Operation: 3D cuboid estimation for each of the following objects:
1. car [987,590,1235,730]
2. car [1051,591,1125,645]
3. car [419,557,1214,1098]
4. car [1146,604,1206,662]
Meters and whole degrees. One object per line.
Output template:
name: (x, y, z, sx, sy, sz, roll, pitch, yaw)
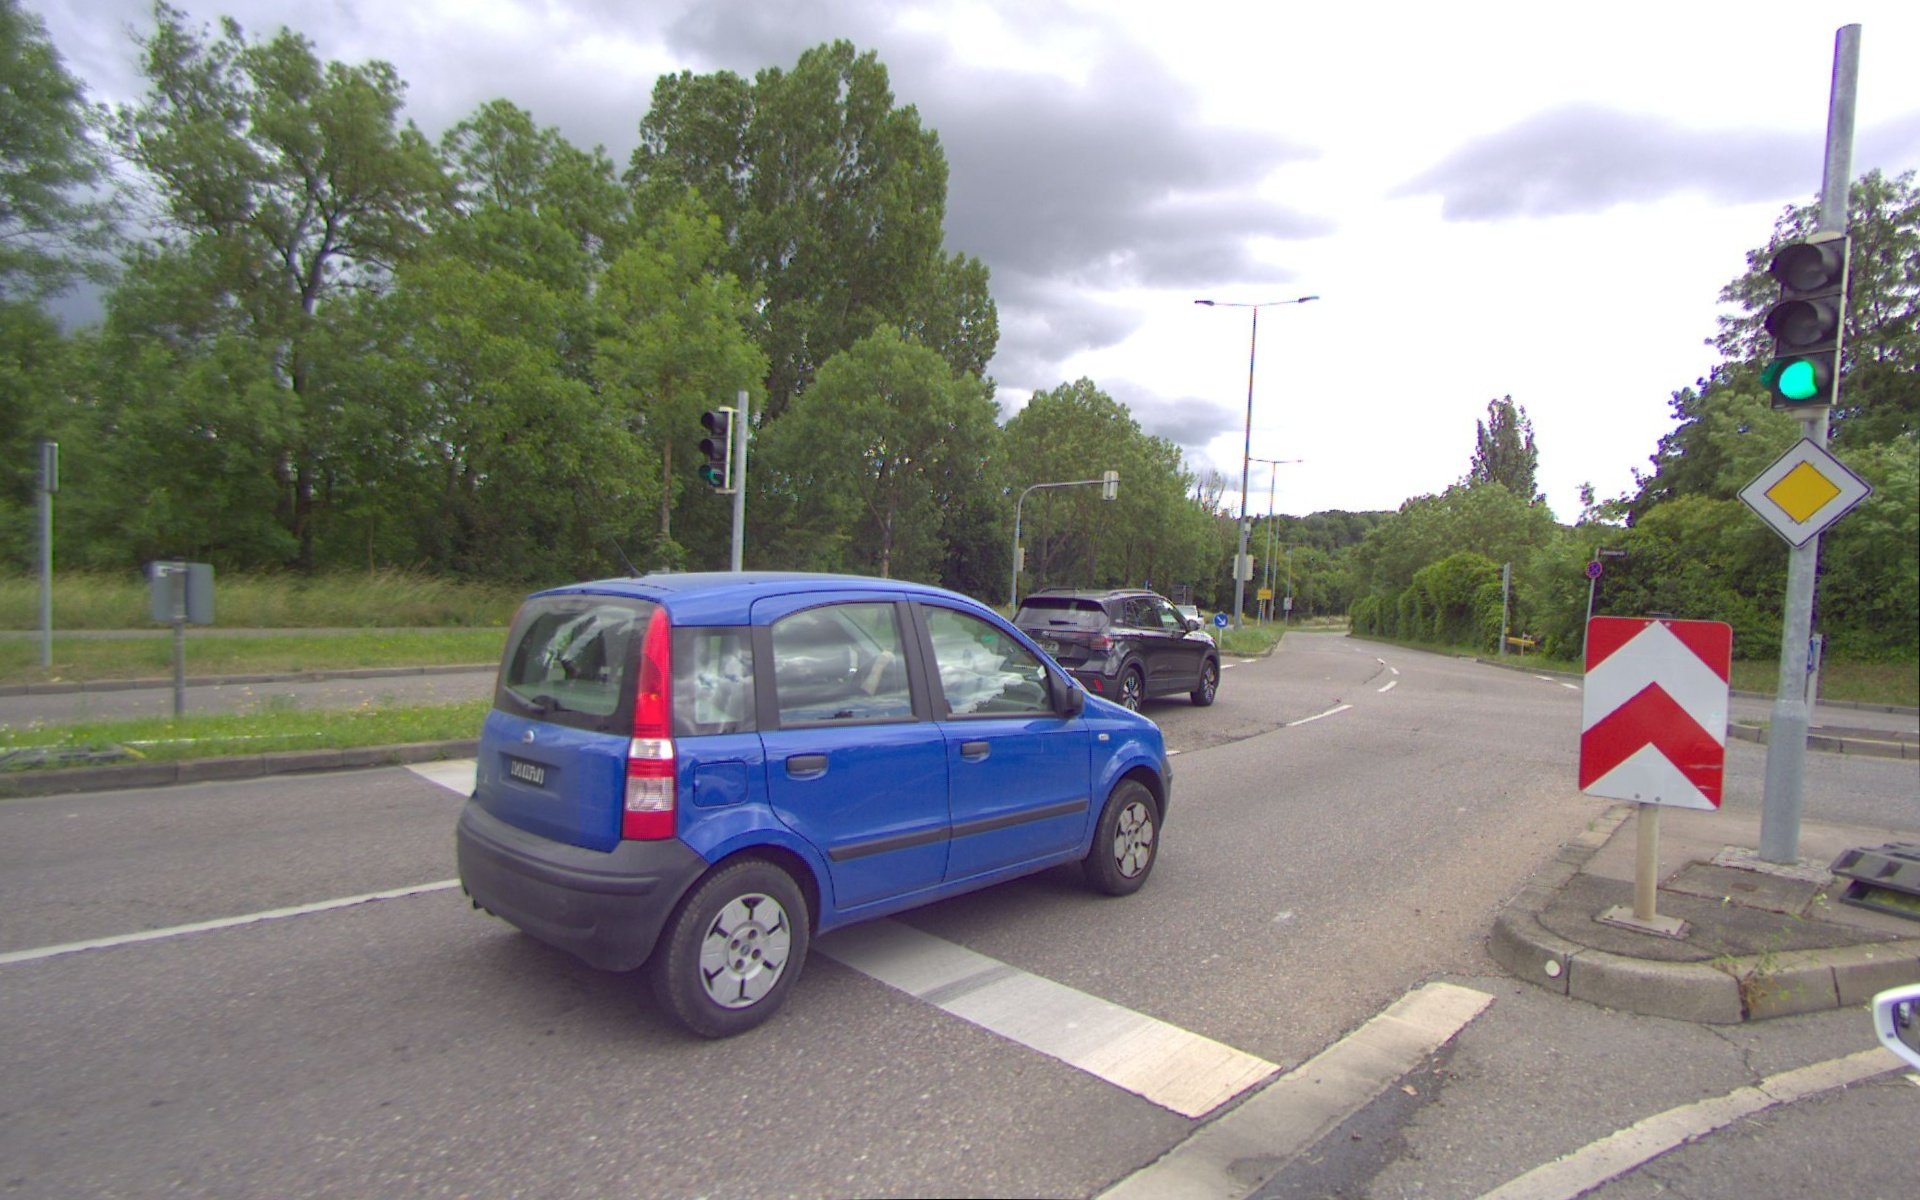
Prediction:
car: (2.107, 0.688, 13.213, 1.635, 1.527, 3.756, 2, 0, 37)
car: (5.220, 0.662, 40.397, 2.042, 1.783, 4.321, 5, 4, 19)
car: (-0.383, 0.653, 4.586, 1.526, 1.527, 3.361, 2, 1, 43)
car: (9.340, 1.358, 43.187, 1.897, 2.021, 4.321, 5, 4, 19)
